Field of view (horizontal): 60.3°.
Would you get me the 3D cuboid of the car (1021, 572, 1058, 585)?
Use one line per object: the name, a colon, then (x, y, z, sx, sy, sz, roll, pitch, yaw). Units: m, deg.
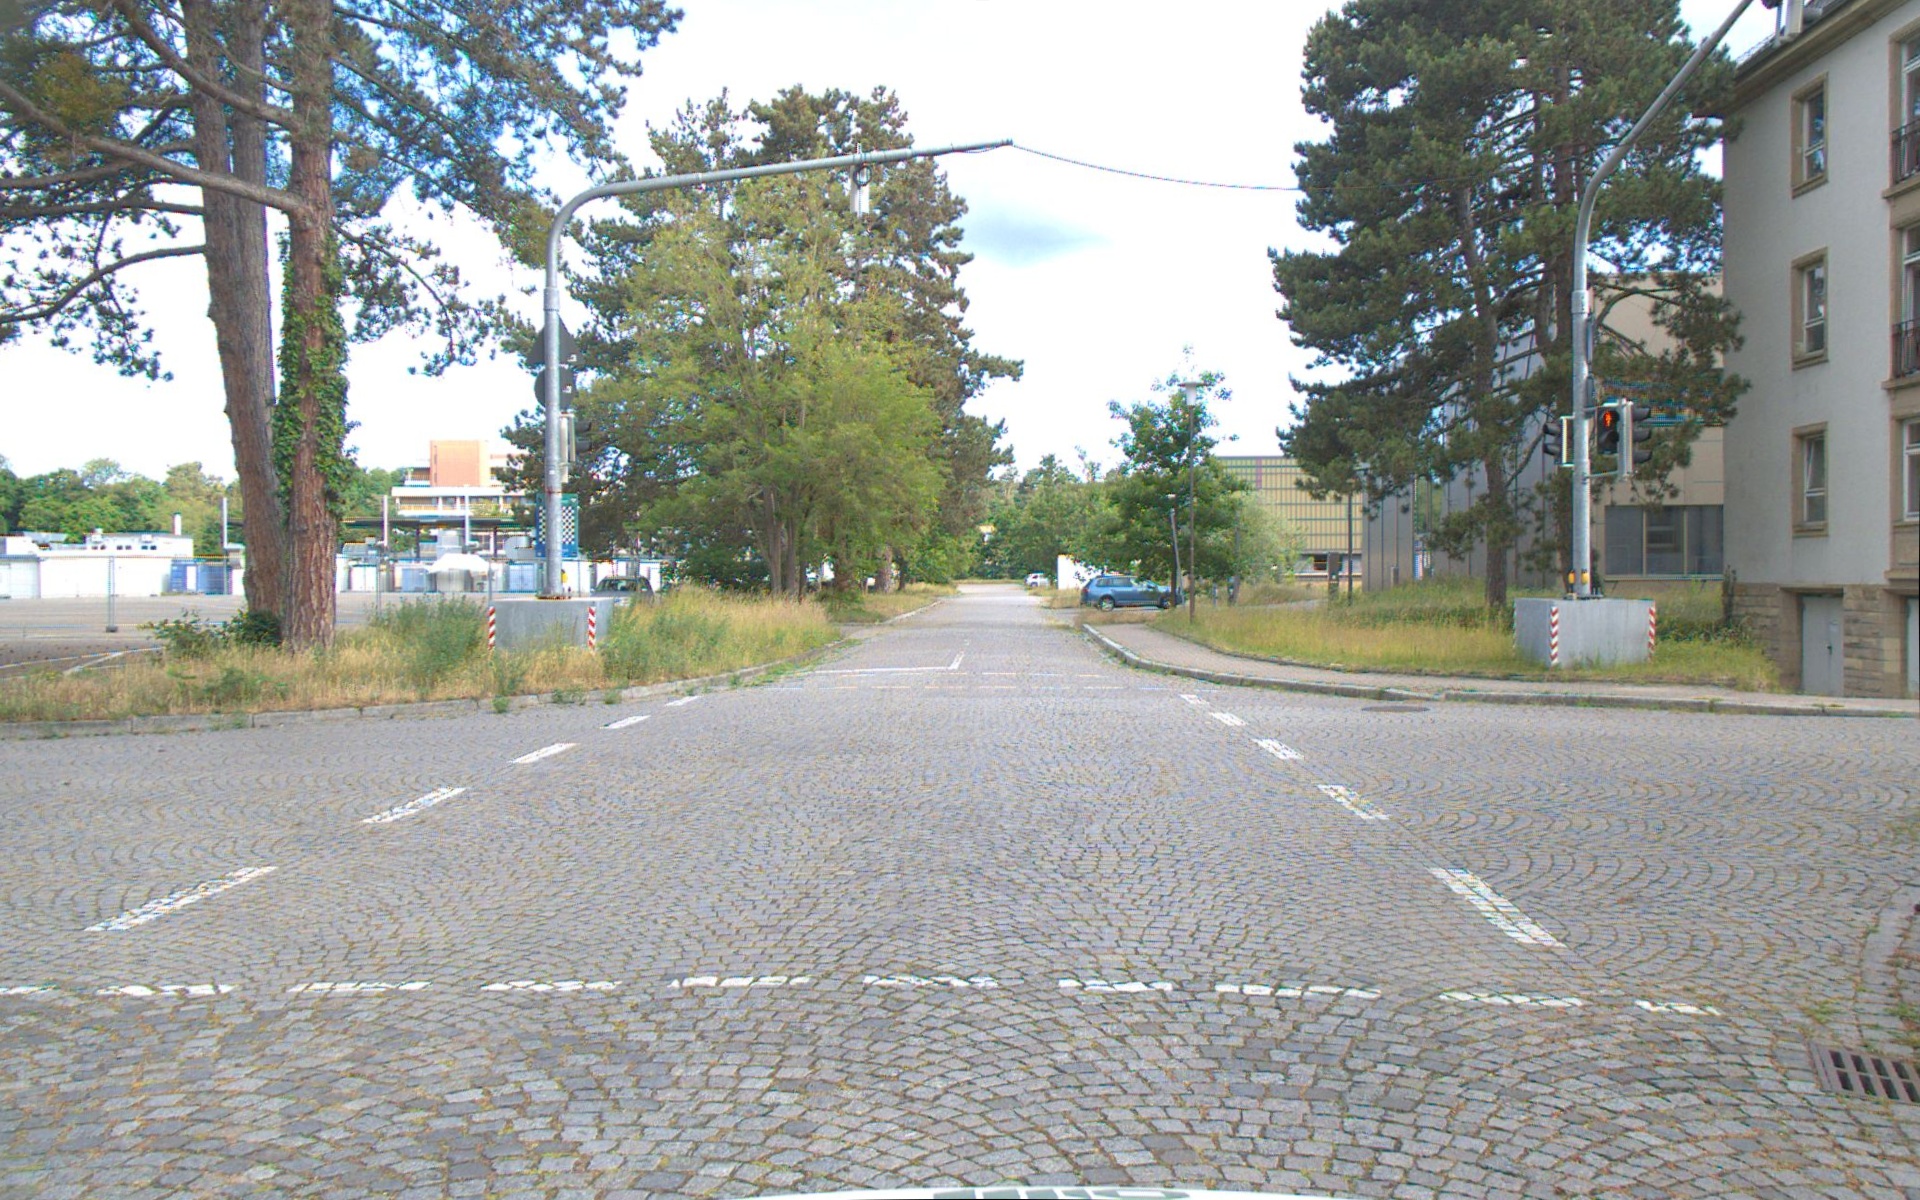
car: (8.969, -2.483, 186.933, 3.909, 1.422, 1.998, -1, 1, -5)

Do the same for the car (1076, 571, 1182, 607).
car: (7.093, -0.484, 69.850, 4.255, 1.447, 2.000, -1, 1, -1)

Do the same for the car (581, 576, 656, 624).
car: (-11.387, -0.040, 55.345, 1.579, 1.513, 4.001, 0, 1, 1)
